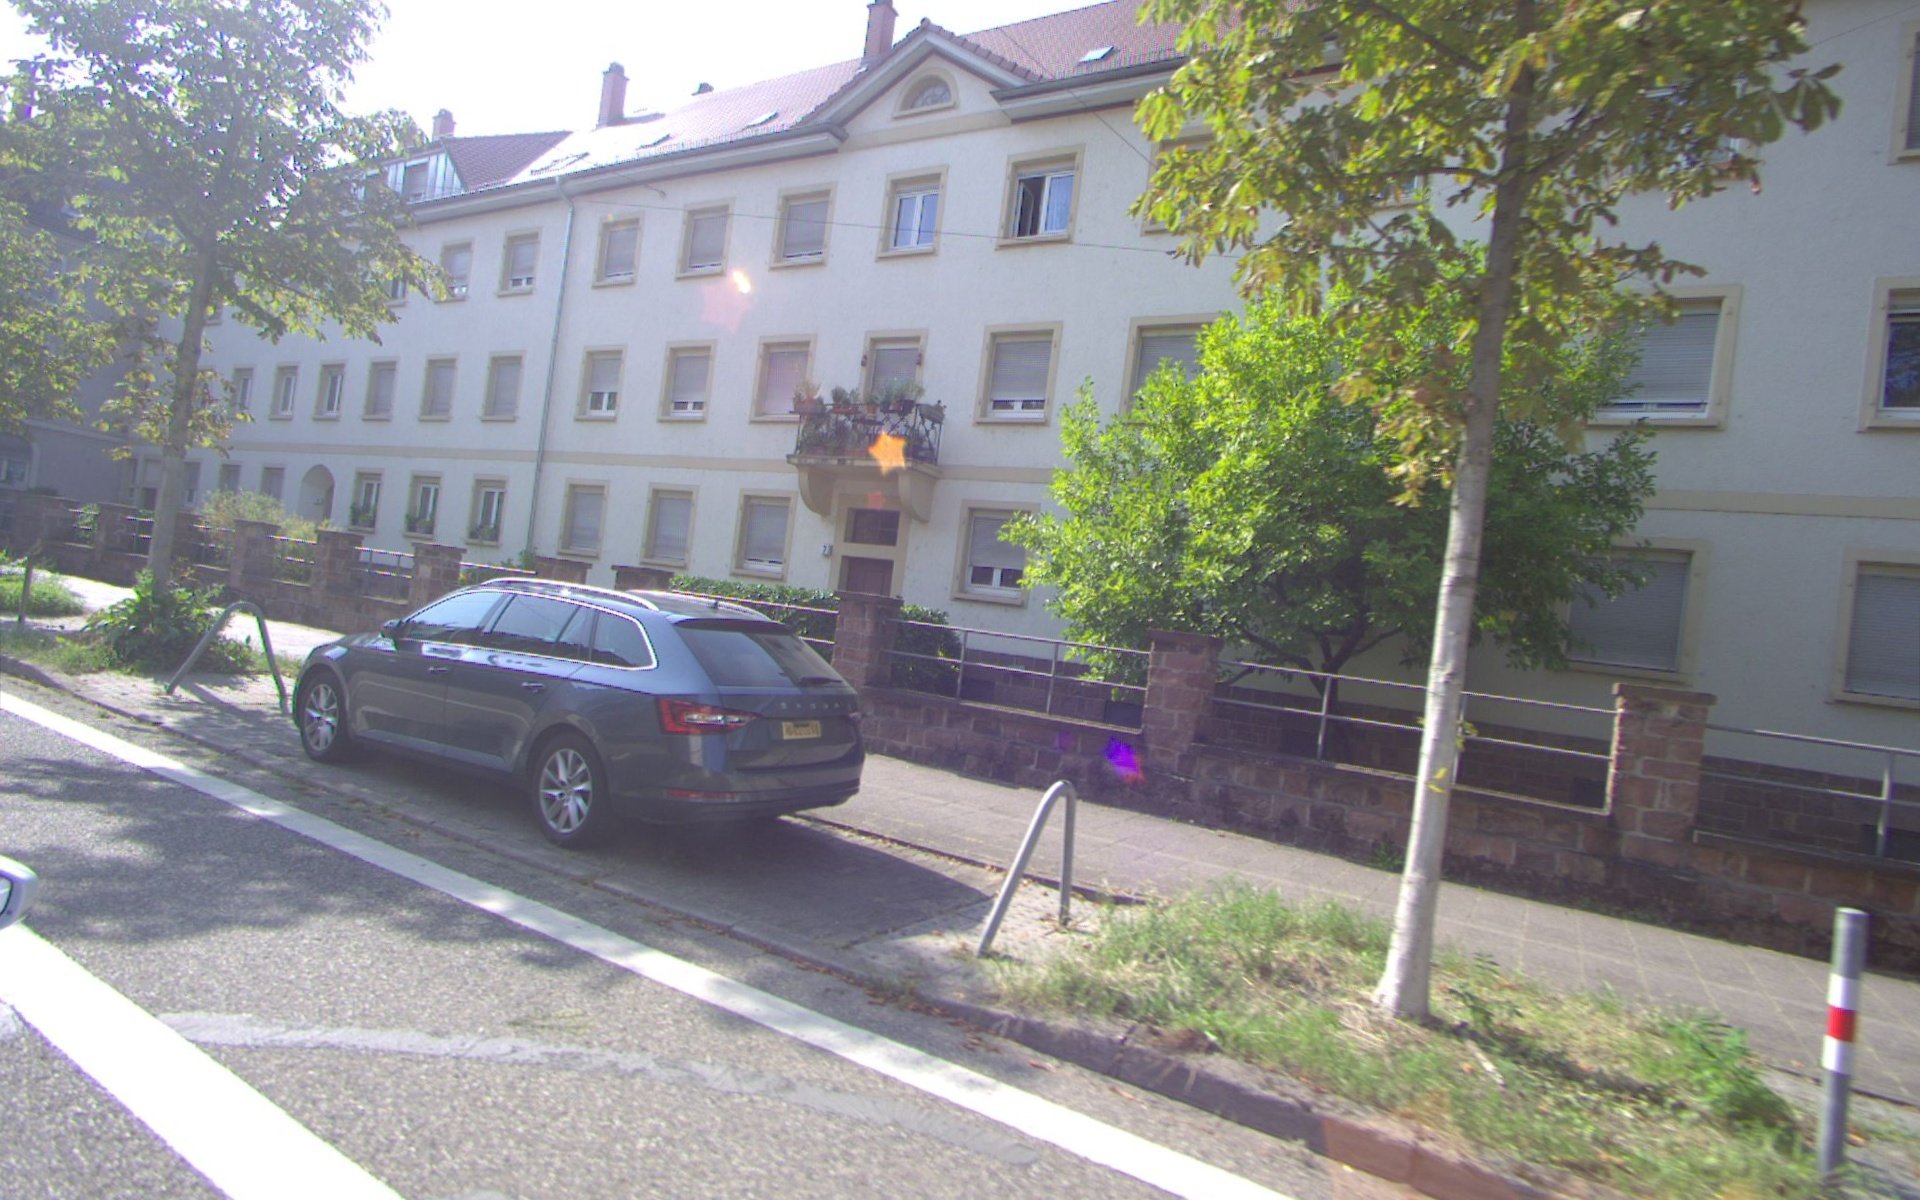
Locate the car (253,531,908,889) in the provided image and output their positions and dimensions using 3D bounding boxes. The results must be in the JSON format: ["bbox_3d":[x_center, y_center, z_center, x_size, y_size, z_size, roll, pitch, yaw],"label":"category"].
[{"bbox_3d":[-2.838,0.554,7.114,4.641,1.579,1.746,6,-1,32],"label":"car"}]

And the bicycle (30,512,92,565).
[{"bbox_3d":[-22.485,-1.545,25.158,1.965,1.117,0.425,7,-1,29],"label":"bicycle"}]

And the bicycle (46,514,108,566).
[{"bbox_3d":[-22.311,-1.518,25.405,1.965,1.117,0.425,7,-1,29],"label":"bicycle"}]
